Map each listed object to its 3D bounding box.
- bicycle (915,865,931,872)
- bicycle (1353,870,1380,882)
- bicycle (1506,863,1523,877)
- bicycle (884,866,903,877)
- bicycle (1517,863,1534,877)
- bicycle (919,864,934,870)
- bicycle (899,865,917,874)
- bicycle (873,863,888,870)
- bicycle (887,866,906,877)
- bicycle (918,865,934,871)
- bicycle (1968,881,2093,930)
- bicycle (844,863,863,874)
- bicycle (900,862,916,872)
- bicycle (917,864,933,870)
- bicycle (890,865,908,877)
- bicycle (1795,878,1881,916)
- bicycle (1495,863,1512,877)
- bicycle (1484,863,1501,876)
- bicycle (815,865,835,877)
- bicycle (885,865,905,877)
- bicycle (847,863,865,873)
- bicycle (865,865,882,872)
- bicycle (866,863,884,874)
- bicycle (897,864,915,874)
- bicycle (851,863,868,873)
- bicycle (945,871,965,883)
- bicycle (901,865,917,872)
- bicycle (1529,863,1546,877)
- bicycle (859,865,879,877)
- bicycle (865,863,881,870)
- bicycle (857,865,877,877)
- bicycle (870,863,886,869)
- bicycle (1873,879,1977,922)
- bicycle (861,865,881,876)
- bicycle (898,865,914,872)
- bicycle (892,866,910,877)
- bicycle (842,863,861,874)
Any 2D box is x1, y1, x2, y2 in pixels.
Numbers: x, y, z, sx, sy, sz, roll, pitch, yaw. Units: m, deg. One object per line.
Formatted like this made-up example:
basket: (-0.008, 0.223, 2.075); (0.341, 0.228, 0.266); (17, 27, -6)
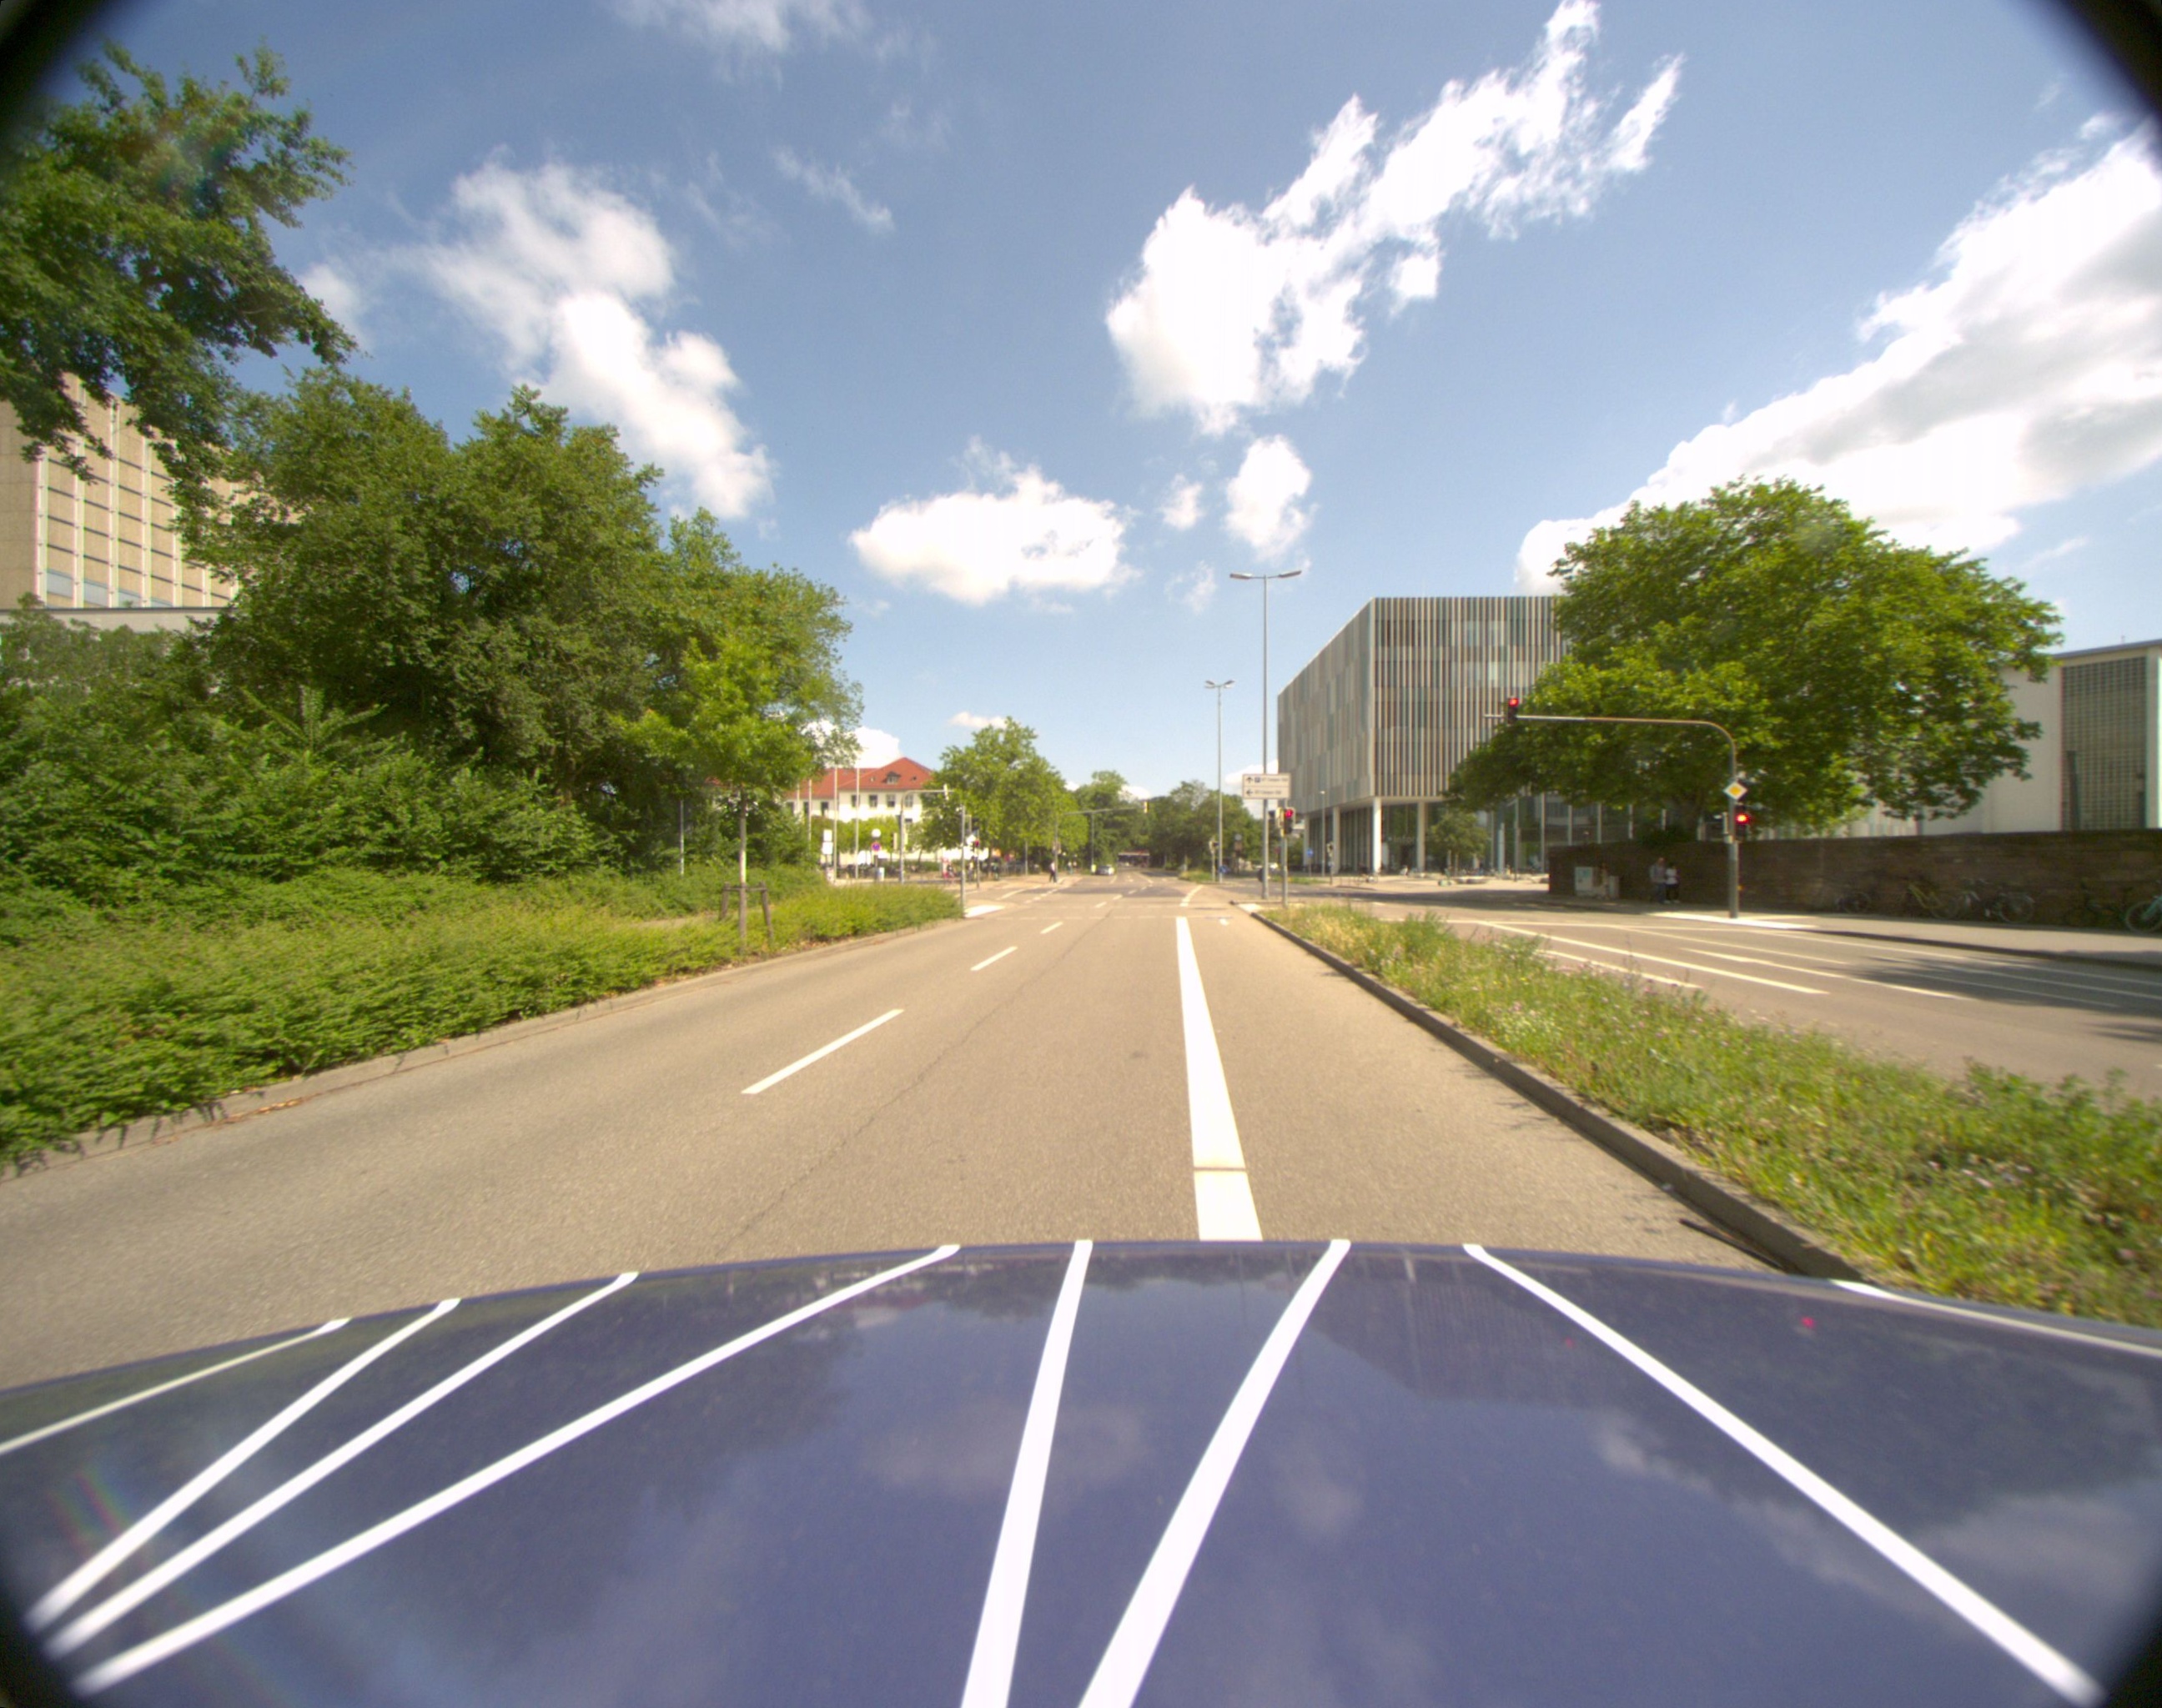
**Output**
bicycle: (-17.912, 1.655, 86.022); (1.672, 0.729, 0.627); (0, 0, -1)
bicycle: (21.275, 1.616, 56.693); (1.770, 0.887, 0.639); (0, 0, 38)
bicycle: (37.451, 1.353, 65.610); (0.745, 1.183, 2.323); (0, 0, 43)
bicycle: (-17.616, 1.645, 71.440); (1.672, 1.090, 0.627); (0, 0, -1)
bicycle: (37.934, 1.340, 64.855); (0.745, 1.183, 2.323); (0, 0, 43)
bicycle: (-18.042, 1.520, 88.799); (1.672, 0.729, 0.627); (0, 0, -1)
bicycle: (-17.457, 1.556, 76.676); (1.672, 0.979, 0.627); (0, 0, -1)
bicycle: (-23.747, 1.464, 89.976); (1.672, 0.785, 0.627); (0, 0, -1)
bicycle: (-17.664, 1.668, 72.835); (1.672, 1.090, 0.627); (0, 0, -1)
bicycle: (-17.713, 1.594, 86.744); (1.672, 0.729, 0.627); (0, 0, -1)
bicycle: (22.676, 1.203, 18.203); (0.565, 1.042, 1.880); (0, 0, -3)
bicycle: (-23.056, 1.432, 77.031); (1.672, 1.090, 0.627); (0, 0, -1)
bicycle: (-19.266, 1.461, 84.545); (1.672, 1.090, 0.627); (0, 0, -1)
bicycle: (-18.061, 1.513, 87.959); (1.672, 0.729, 0.627); (0, 0, -1)
bicycle: (-17.674, 1.657, 73.825); (1.672, 1.090, 0.627); (0, 0, -1)
bicycle: (22.531, 1.264, 22.680); (0.631, 1.042, 1.880); (0, 0, -3)
bicycle: (36.876, 1.368, 66.232); (0.745, 1.183, 2.323); (0, 0, 43)
bicycle: (36.421, 1.381, 67.235); (0.745, 1.131, 2.323); (0, 0, 43)
bicycle: (-24.127, 1.615, 71.714); (1.672, 1.090, 0.627); (0, 0, -2)
bicycle: (-17.645, 1.592, 72.107); (1.672, 1.090, 0.627); (0, 0, -1)
bicycle: (-23.016, 1.441, 77.826); (1.672, 1.090, 0.627); (0, 0, -1)
bicycle: (-23.624, 1.695, 86.500); (1.672, 0.785, 0.627); (0, 0, -1)
bicycle: (-20.864, 1.507, 77.069); (1.672, 1.090, 0.627); (0, 0, -1)
bicycle: (-17.477, 1.525, 75.900); (1.672, 1.029, 0.627); (0, 0, -1)
bicycle: (-22.965, 1.452, 78.801); (1.672, 1.090, 0.627); (0, 0, -1)
bicycle: (-8.603, 1.566, 51.949); (0.621, 0.828, 1.510); (0, 0, -44)
bicycle: (-19.613, 1.630, 86.705); (1.672, 0.785, 0.627); (0, 0, -3)
bicycle: (38.629, 1.322, 64.305); (0.745, 1.183, 2.323); (0, 0, 43)
bicycle: (-19.751, 1.553, 70.846); (1.672, 1.090, 0.627); (0, 0, -1)
bicycle: (-23.827, 1.470, 87.203); (1.672, 0.785, 0.627); (0, 0, -1)
bicycle: (-19.765, 1.558, 70.169); (1.672, 1.090, 0.627); (0, 0, -1)
bicycle: (-23.747, 1.406, 88.984); (1.672, 0.785, 0.627); (0, 0, -1)
bicycle: (22.597, 1.212, 20.401); (0.631, 1.042, 1.880); (0, 0, -3)
bicycle: (-19.758, 1.558, 71.588); (1.672, 1.090, 0.627); (0, 0, -1)
bicycle: (-19.756, 1.628, 85.882); (1.672, 0.785, 0.627); (0, 0, -3)
bicycle: (-17.659, 1.696, 74.583); (1.672, 1.090, 0.627); (0, 0, -1)
bicycle: (-22.983, 1.477, 76.176); (1.672, 1.090, 0.627); (0, 0, -1)
